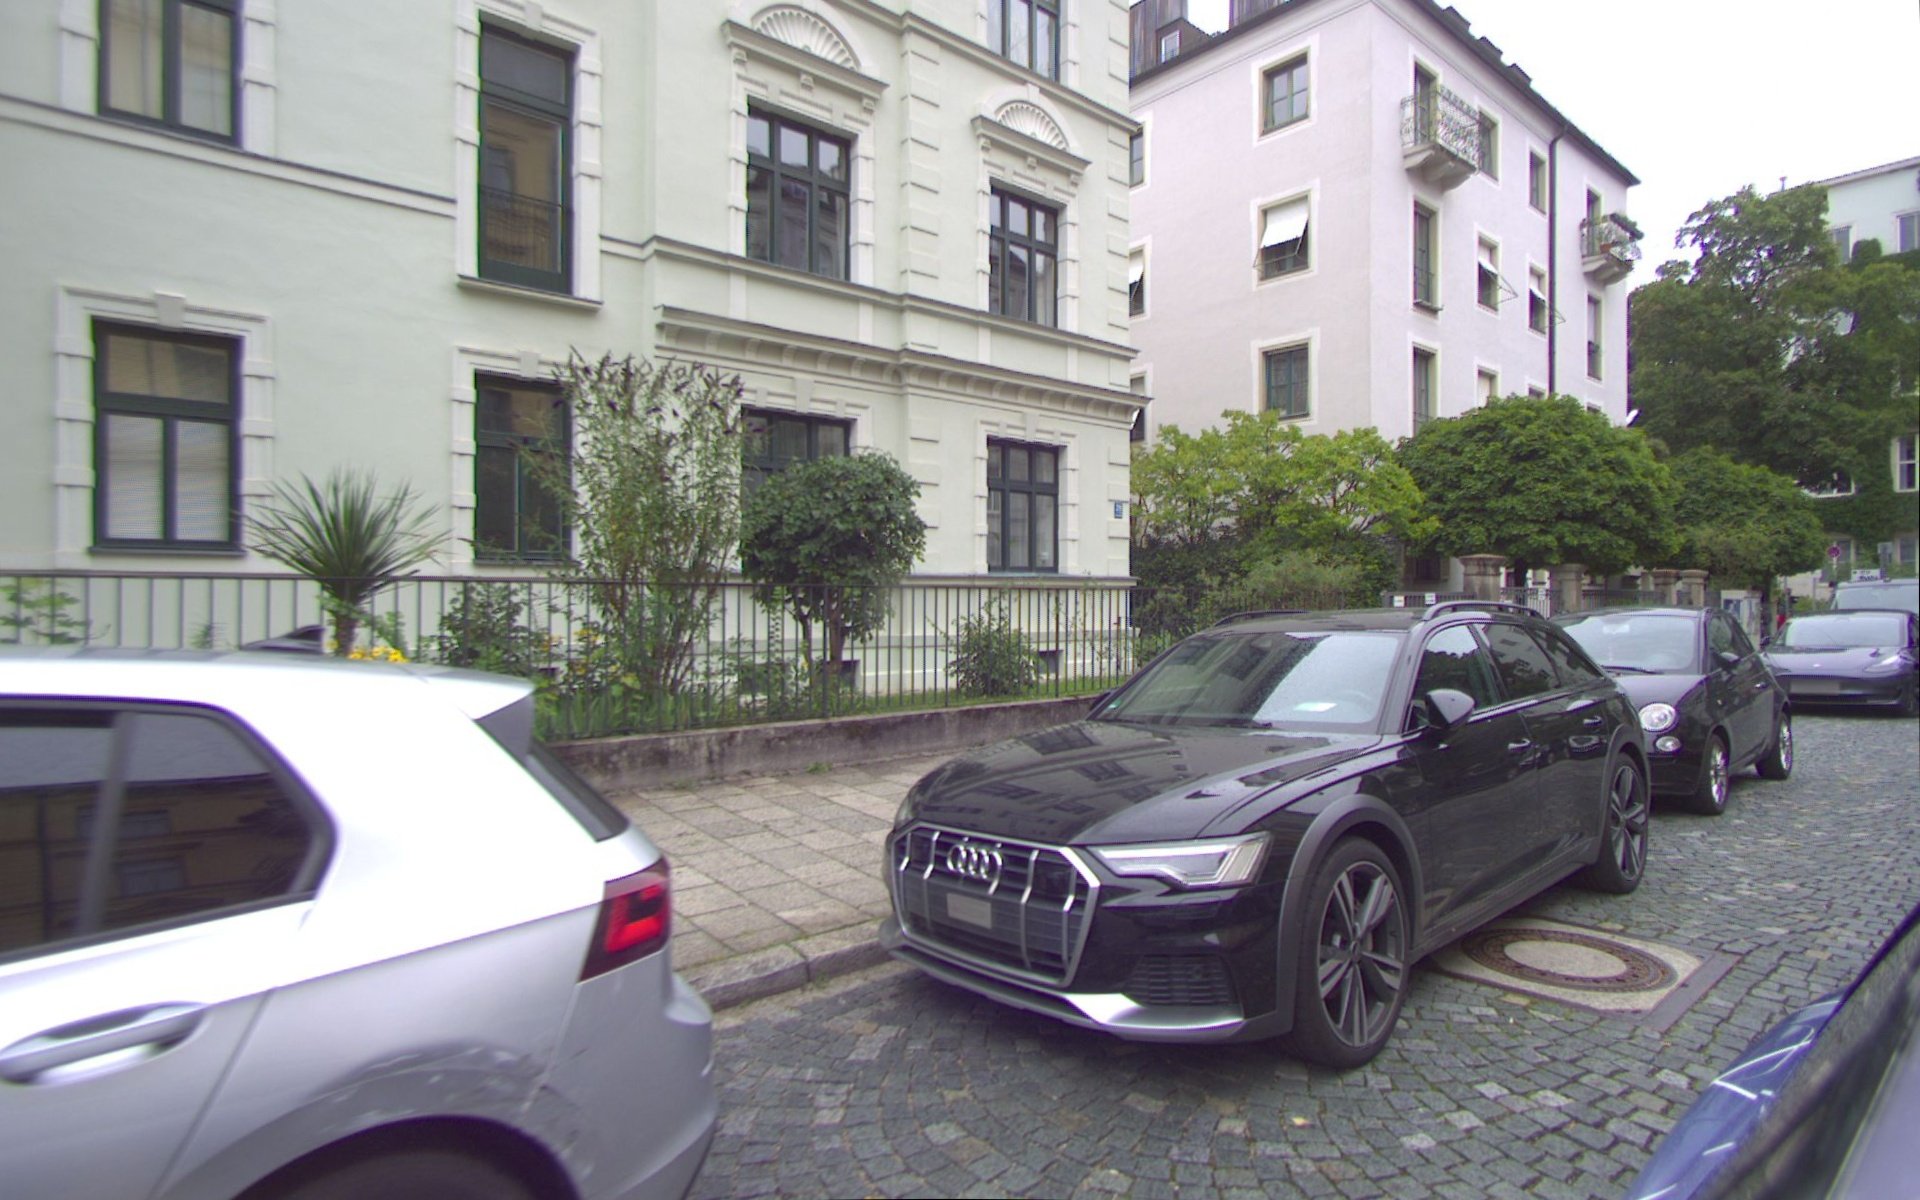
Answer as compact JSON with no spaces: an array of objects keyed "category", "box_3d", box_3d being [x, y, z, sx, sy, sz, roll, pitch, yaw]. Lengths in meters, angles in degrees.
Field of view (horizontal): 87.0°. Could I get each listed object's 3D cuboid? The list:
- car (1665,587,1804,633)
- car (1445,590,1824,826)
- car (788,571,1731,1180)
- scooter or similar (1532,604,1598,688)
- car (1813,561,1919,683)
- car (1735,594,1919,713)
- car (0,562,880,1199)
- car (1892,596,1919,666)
[{"category":"car","box_3d":[29.999,0.409,39.277,1.868,1.702,3.991,-1,-1,-42]},{"category":"car","box_3d":[5.691,0.722,8.391,3.621,1.528,1.669,0,-2,-41]},{"category":"car","box_3d":[1.850,0.712,4.909,5.015,1.522,1.907,0,-2,-40]},{"category":"scooter or similar","box_3d":[9.677,0.711,16.180,1.447,1.230,0.443,-1,6,-44]},{"category":"car","box_3d":[17.315,0.347,18.432,4.882,1.995,1.996,-1,-2,-42]},{"category":"car","box_3d":[13.196,0.684,14.771,4.450,1.484,1.941,0,-1,-39]},{"category":"car","box_3d":[-2.414,0.732,1.332,4.401,1.479,1.758,0,-2,-40]},{"category":"car","box_3d":[21.331,0.644,21.526,4.109,1.392,1.743,0,2,-41]}]
